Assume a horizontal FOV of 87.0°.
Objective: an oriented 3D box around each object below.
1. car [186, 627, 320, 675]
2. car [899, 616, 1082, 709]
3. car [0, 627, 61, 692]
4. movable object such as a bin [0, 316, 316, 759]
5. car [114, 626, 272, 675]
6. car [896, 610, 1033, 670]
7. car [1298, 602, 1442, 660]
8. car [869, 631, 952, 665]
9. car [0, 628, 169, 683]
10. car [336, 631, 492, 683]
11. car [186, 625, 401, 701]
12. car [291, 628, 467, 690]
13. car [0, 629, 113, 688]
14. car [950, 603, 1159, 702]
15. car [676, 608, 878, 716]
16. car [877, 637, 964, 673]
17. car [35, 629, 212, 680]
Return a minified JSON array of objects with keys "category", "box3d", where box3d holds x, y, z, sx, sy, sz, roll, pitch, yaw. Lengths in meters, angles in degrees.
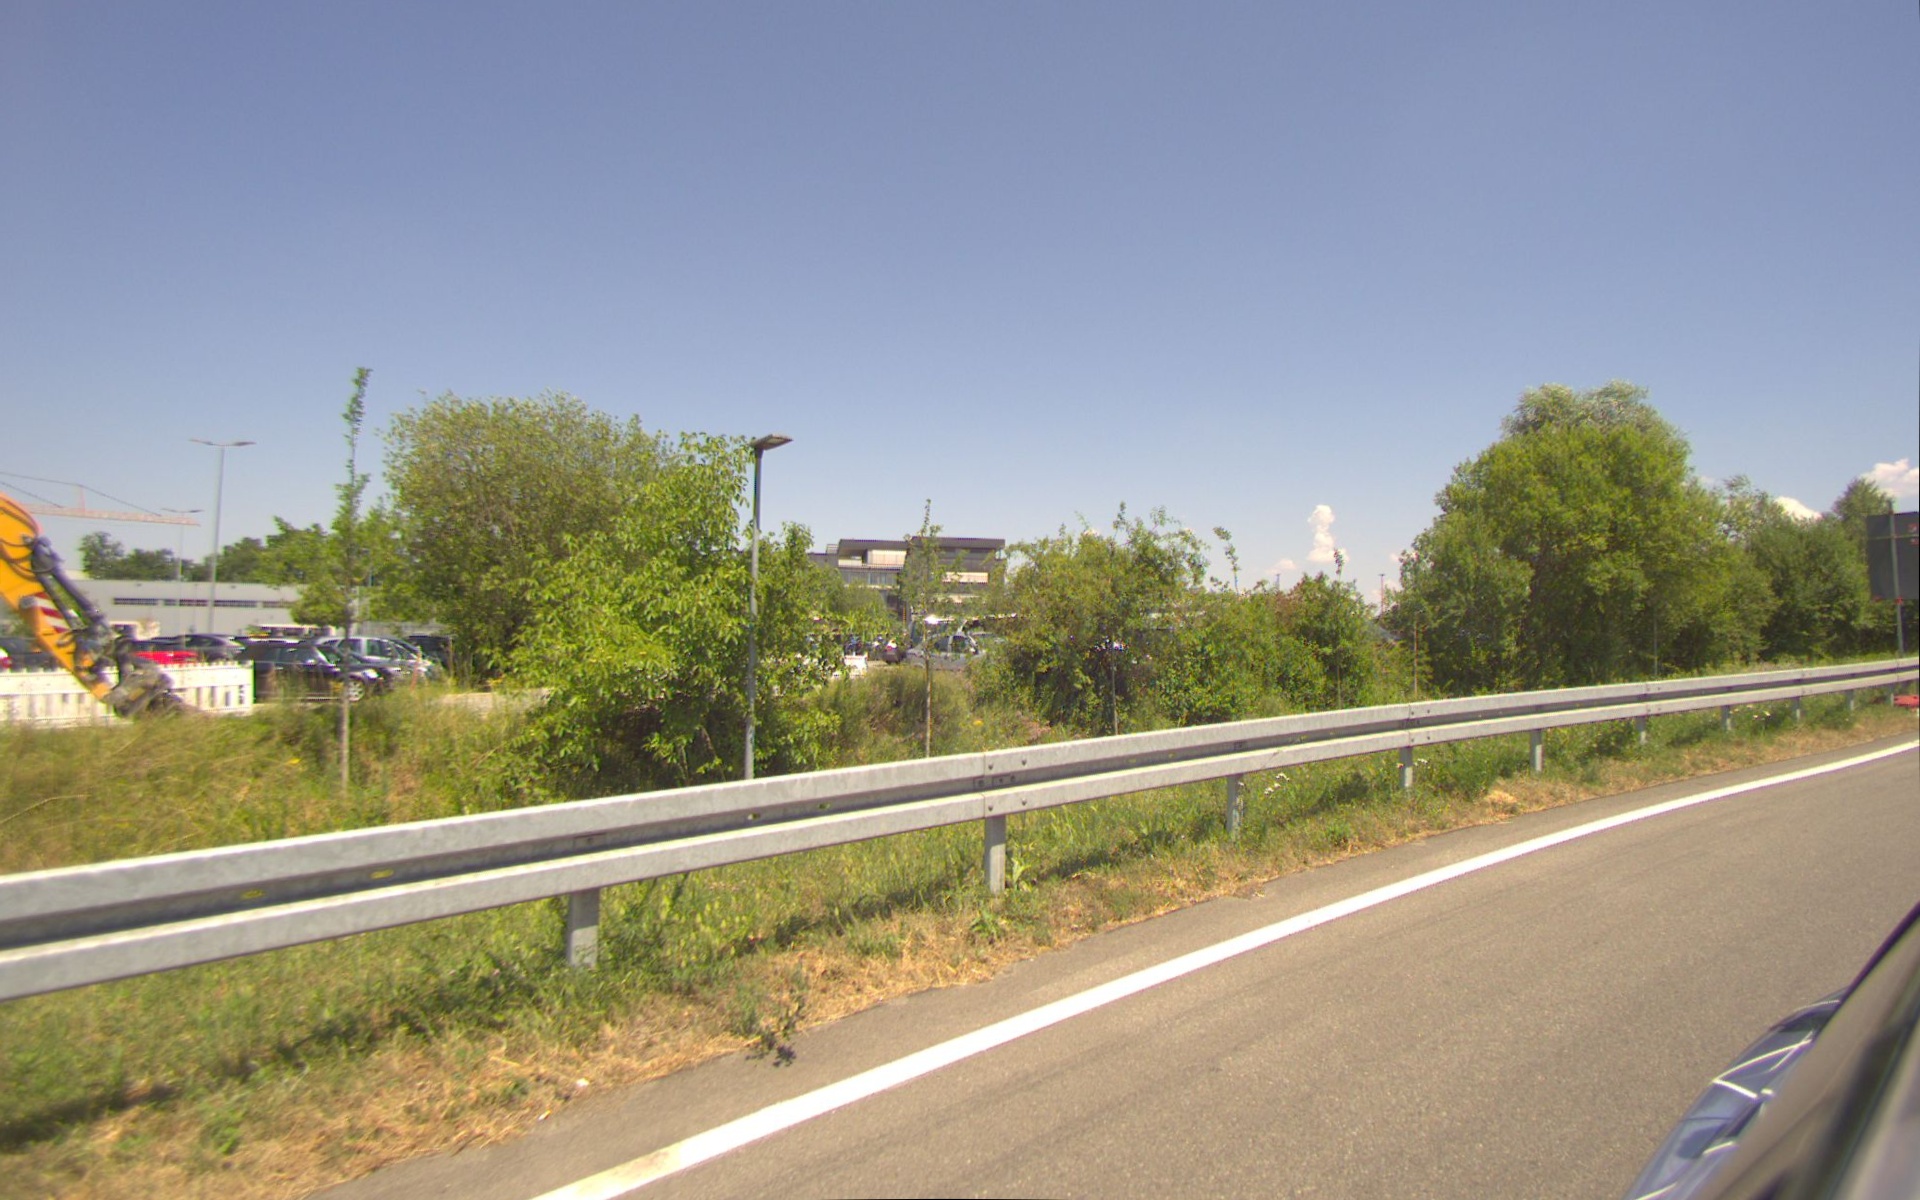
[{"category":"car","box3d":[-30.344,2.177,43.558,4.334,1.949,1.949,0,0,-5]},{"category":"car","box3d":[0.632,1.432,23.946,1.964,1.994,4.302,4,-4,-40]},{"category":"car","box3d":[-27.728,1.590,27.574,4.497,1.658,2.017,0,0,-5]},{"category":"movable object such as a bin","box3d":[-13.699,-0.790,12.415,3.424,5.330,9.077,-2,-4,44]},{"category":"car","box3d":[-28.594,1.861,37.865,4.334,1.706,1.949,0,0,-5]},{"category":"car","box3d":[0.143,1.584,39.744,5.045,2.199,2.003,2,-3,-11]},{"category":"car","box3d":[15.275,1.186,37.960,1.963,1.994,4.689,3,-4,-37]},{"category":"car","box3d":[-2.502,2.386,50.578,3.917,1.588,1.950,0,0,-10]},{"category":"car","box3d":[-28.360,1.770,32.747,3.920,1.658,1.949,0,0,-5]},{"category":"car","box3d":[-17.800,1.848,33.168,4.070,1.563,2.003,0,0,-10]},{"category":"car","box3d":[-16.126,1.485,24.722,3.916,1.694,2.004,0,0,-12]},{"category":"car","box3d":[-16.989,1.703,29.798,4.069,1.655,2.003,0,0,-10]},{"category":"car","box3d":[-28.186,1.731,30.299,3.920,1.658,1.949,0,0,-5]},{"category":"car","box3d":[2.333,1.309,26.088,5.216,2.287,2.101,-2,-4,44]},{"category":"car","box3d":[-3.834,1.218,20.700,2.028,1.939,4.438,4,-4,-41]},{"category":"car","box3d":[-1.912,2.601,48.266,3.917,1.588,1.950,0,0,-10]},{"category":"car","box3d":[-29.187,1.879,35.435,4.430,1.658,1.949,0,0,-5]}]
